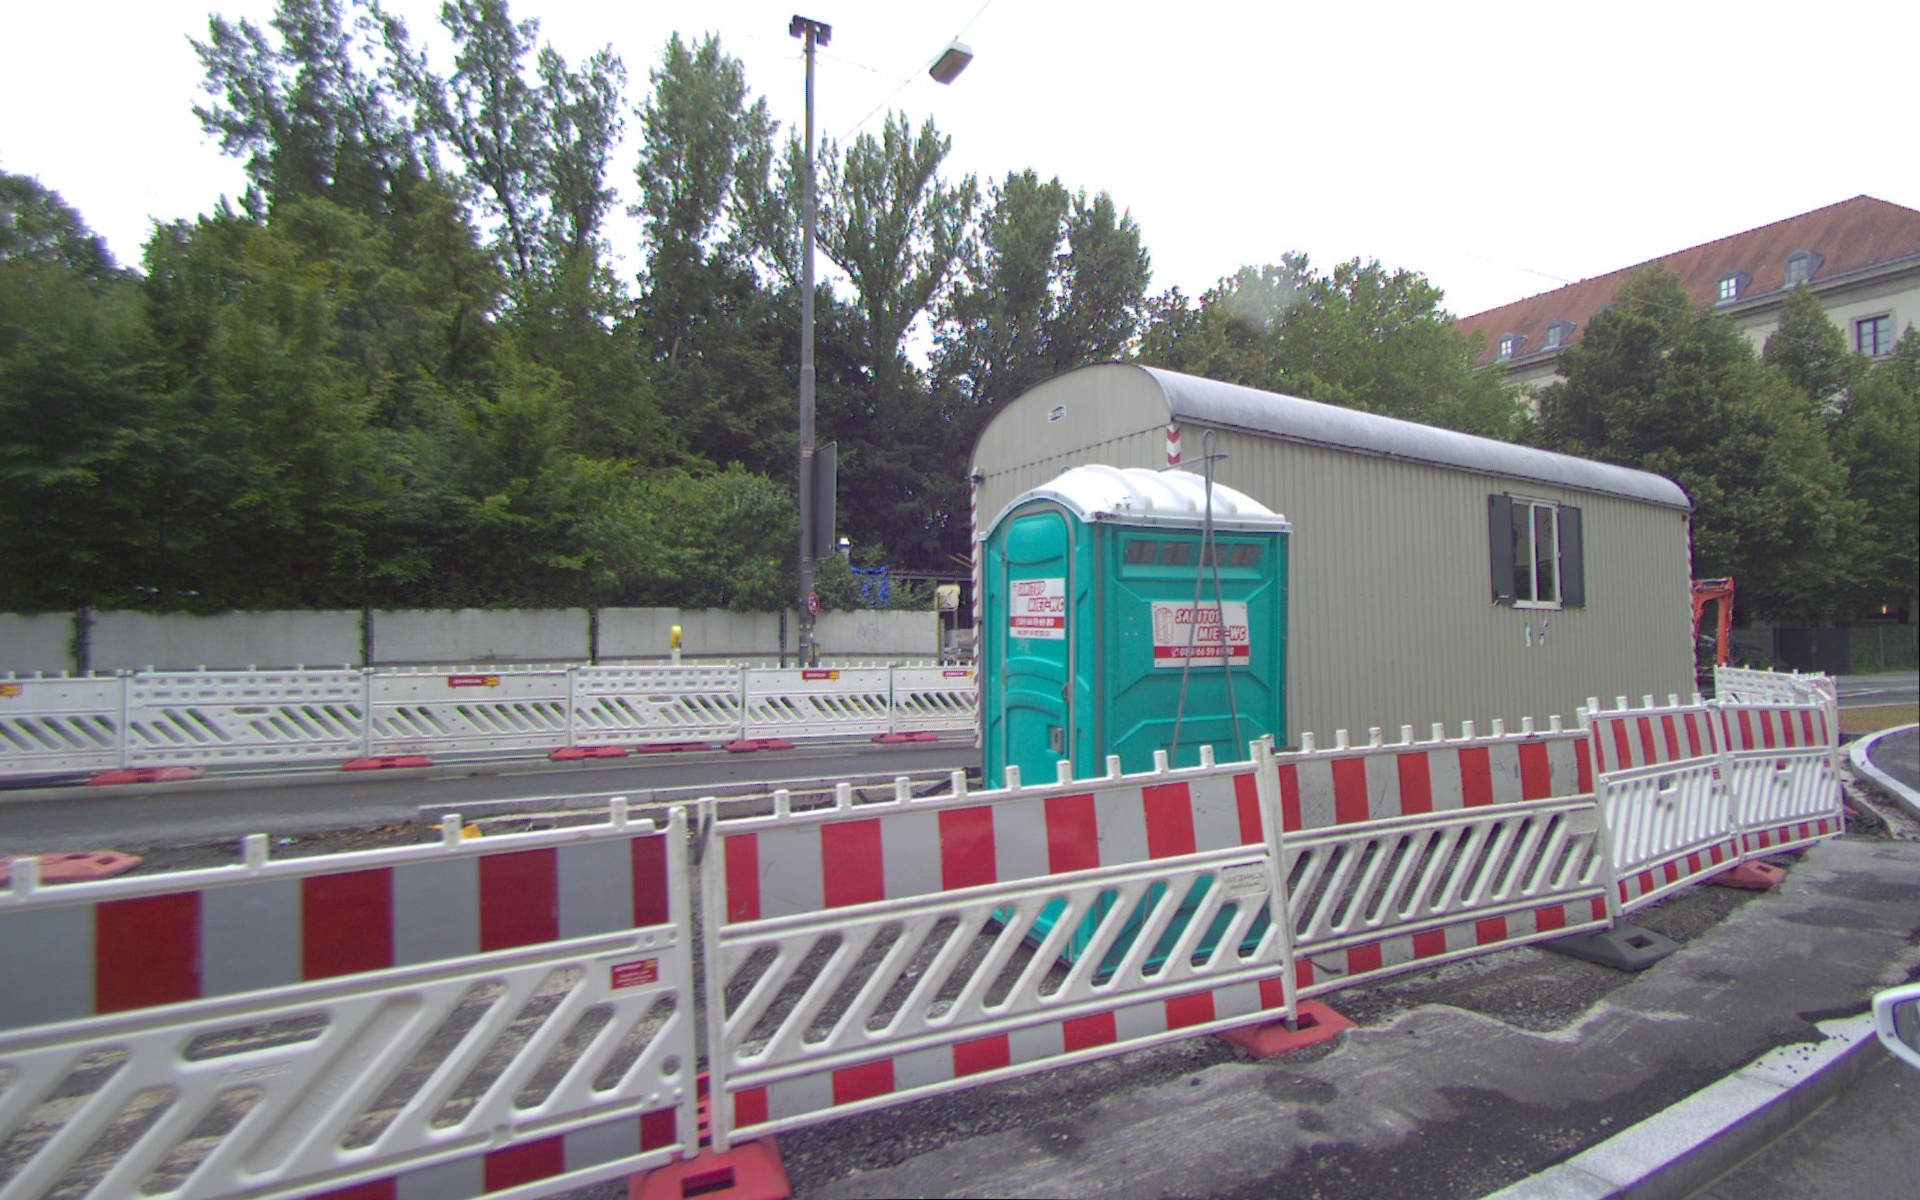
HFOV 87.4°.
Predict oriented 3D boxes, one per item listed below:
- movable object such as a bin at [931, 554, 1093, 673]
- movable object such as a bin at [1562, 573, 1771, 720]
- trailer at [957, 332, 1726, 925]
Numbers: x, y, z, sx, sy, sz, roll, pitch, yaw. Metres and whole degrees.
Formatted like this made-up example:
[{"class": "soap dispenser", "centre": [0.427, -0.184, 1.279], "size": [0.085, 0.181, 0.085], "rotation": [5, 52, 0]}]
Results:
[{"class": "movable object such as a bin", "centre": [1.746, 0.449, 33.128], "size": [5.117, 3.677, 1.985], "rotation": [0, -1, -30]}, {"class": "movable object such as a bin", "centre": [14.393, 0.920, 20.394], "size": [4.618, 2.675, 1.981], "rotation": [1, -3, -35]}, {"class": "trailer", "centre": [3.673, 0.242, 8.572], "size": [7.440, 3.286, 2.214], "rotation": [1, -2, -34]}]
